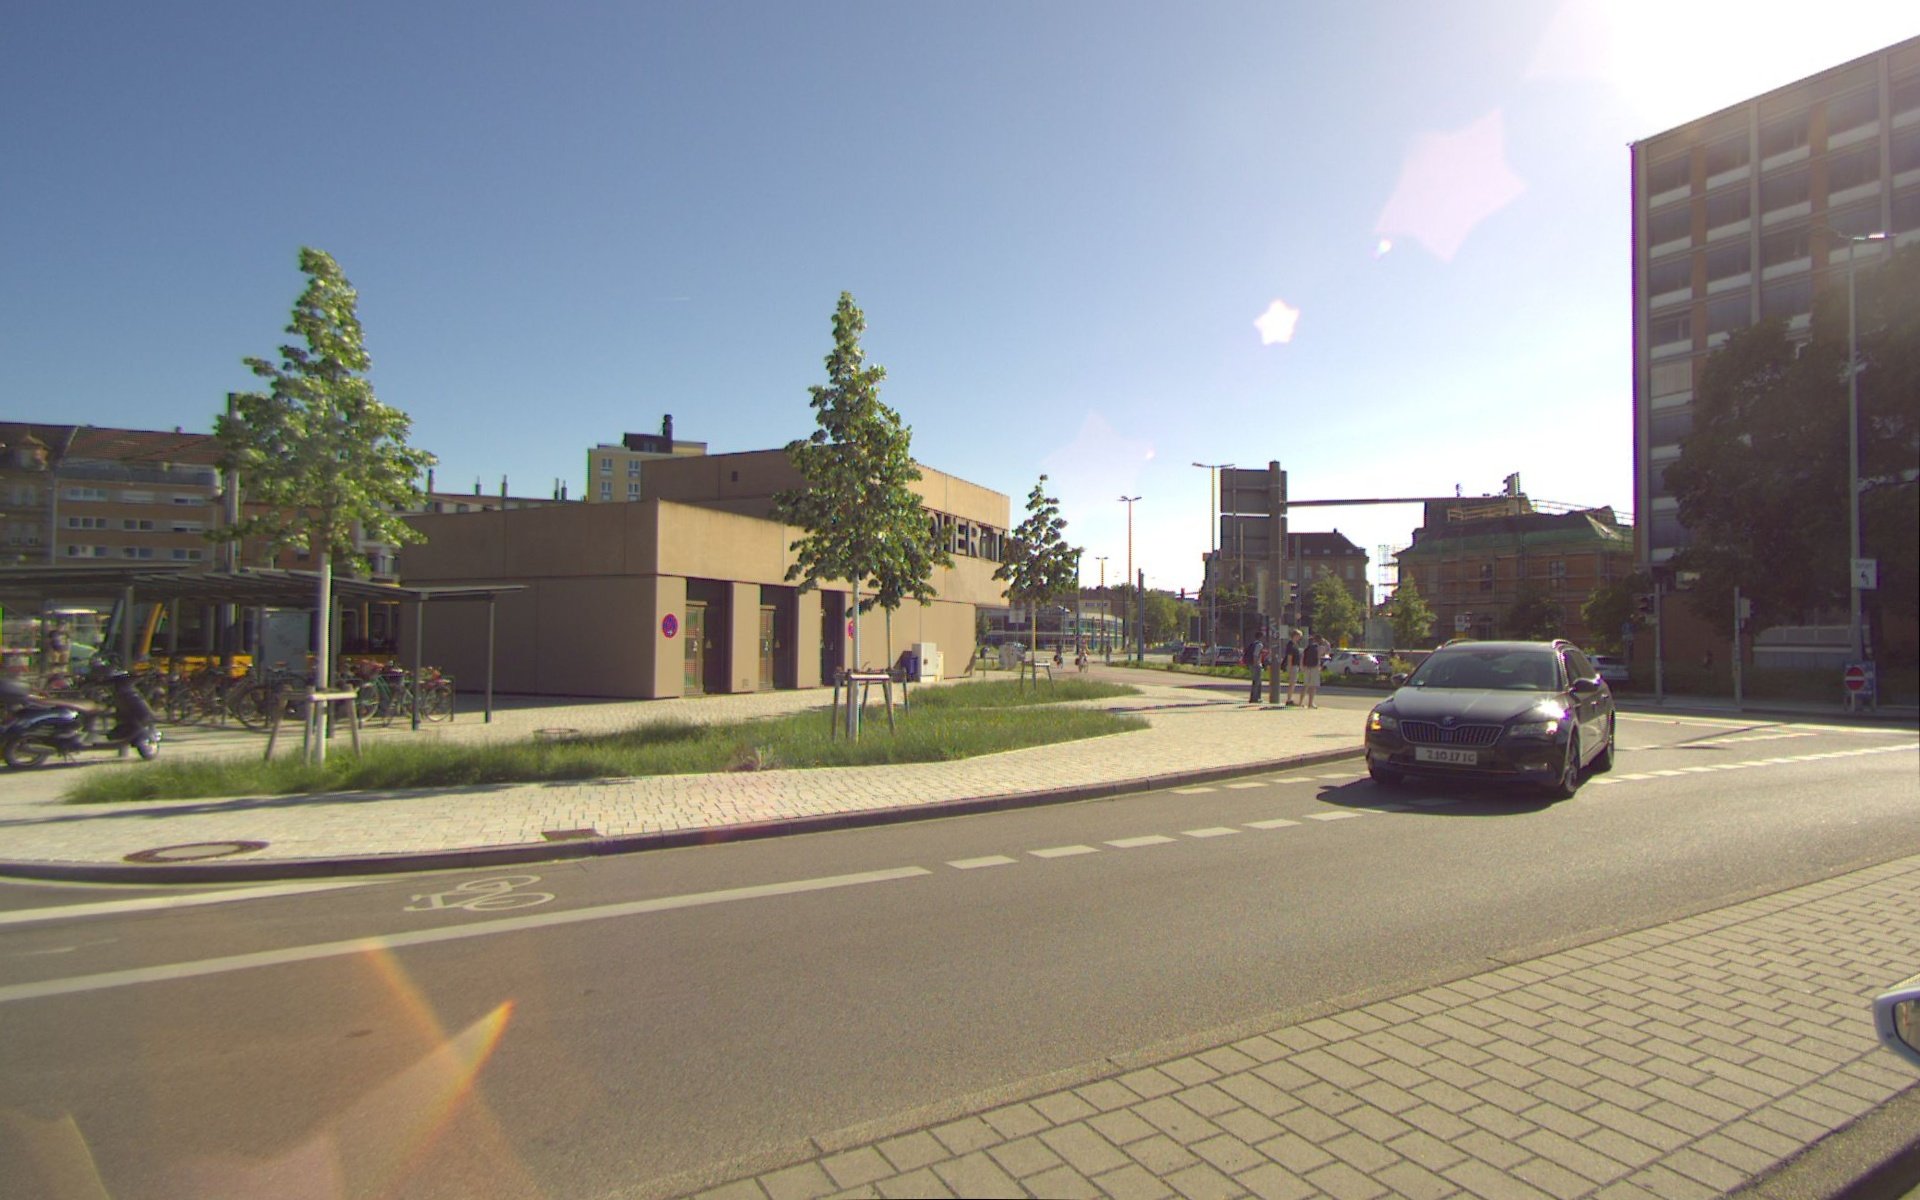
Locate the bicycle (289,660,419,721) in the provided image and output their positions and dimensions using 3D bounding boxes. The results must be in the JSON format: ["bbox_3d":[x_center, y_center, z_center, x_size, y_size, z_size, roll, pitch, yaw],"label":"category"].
[{"bbox_3d":[-11.758,1.733,19.576,0.679,1.011,2.140,2,0,26],"label":"bicycle"}]

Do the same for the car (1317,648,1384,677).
[{"bbox_3d":[21.370,3.417,55.145,1.712,1.454,3.842,1,-2,-10],"label":"car"}]

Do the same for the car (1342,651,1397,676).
[{"bbox_3d":[26.056,4.023,64.031,1.710,1.454,3.846,1,-2,-5],"label":"car"}]

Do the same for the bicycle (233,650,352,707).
[{"bbox_3d":[-13.913,1.616,20.997,0.524,1.051,2.070,2,0,26],"label":"bicycle"}]

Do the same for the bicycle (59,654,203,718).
[{"bbox_3d":[-15.898,1.624,19.324,0.524,1.051,2.070,5,1,26],"label":"bicycle"}]

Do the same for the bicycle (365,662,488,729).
[{"bbox_3d":[-9.785,1.728,18.524,0.524,1.051,2.070,2,0,26],"label":"bicycle"}]

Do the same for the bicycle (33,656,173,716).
[{"bbox_3d":[-16.879,1.678,19.852,0.524,1.051,2.070,-2,-2,26],"label":"bicycle"}]

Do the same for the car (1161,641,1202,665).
[{"bbox_3d":[16.526,3.937,75.128,1.809,1.653,4.386,1,-2,-4],"label":"car"}]

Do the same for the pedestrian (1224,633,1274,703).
[{"bbox_3d":[7.317,1.731,25.436,0.831,1.711,0.896,5,-5,-34],"label":"pedestrian"}]

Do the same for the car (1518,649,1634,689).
[{"bbox_3d":[28.442,3.172,46.597,1.812,1.653,4.830,1,-2,-11],"label":"car"}]

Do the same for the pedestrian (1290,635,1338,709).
[{"bbox_3d":[8.378,1.707,23.809,0.775,1.711,0.794,2,-5,-11],"label":"pedestrian"}]

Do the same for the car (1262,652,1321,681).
[{"bbox_3d":[20.704,4.132,62.892,1.810,1.653,4.382,1,-2,-8],"label":"car"}]

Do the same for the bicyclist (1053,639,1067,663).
[{"bbox_3d":[6.239,3.201,62.720,0.674,1.440,1.127,1,-4,-8],"label":"bicyclist"}]

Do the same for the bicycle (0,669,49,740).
[{"bbox_3d":[-14.196,1.526,14.379,0.399,0.985,1.683,2,0,22],"label":"bicycle"}]

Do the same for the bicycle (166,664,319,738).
[{"bbox_3d":[-11.972,1.654,16.841,0.524,1.051,2.070,2,0,26],"label":"bicycle"}]

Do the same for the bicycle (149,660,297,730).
[{"bbox_3d":[-12.894,1.630,17.661,0.524,1.051,2.070,2,0,26],"label":"bicycle"}]

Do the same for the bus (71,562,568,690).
[{"bbox_3d":[-18.501,0.866,31.205,2.810,3.112,13.620,0,-2,25],"label":"bus"}]

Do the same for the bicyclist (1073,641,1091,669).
[{"bbox_3d":[6.650,2.988,54.709,0.727,1.519,1.071,1,-3,-8],"label":"bicyclist"}]

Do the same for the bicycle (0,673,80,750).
[{"bbox_3d":[-13.226,1.544,13.816,0.399,0.985,1.683,2,0,22],"label":"bicycle"}]

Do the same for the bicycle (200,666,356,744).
[{"bbox_3d":[-10.899,1.650,16.137,0.524,1.051,2.070,2,0,26],"label":"bicycle"}]

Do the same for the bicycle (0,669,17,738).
[{"bbox_3d":[-14.713,1.542,14.429,0.399,0.985,1.683,2,0,22],"label":"bicycle"}]

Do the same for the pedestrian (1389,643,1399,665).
[{"bbox_3d":[32.557,4.047,75.349,0.636,1.637,0.548,0,-2,10],"label":"pedestrian"}]

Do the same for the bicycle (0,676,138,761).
[{"bbox_3d":[-12.198,1.574,13.582,0.399,0.985,1.683,2,0,22],"label":"bicycle"}]

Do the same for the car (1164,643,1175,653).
[{"bbox_3d":[43.258,9.838,207.286,1.959,2.040,4.003,0,-2,7],"label":"car"}]

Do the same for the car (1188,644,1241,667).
[{"bbox_3d":[17.269,3.763,68.359,1.810,1.406,4.895,1,-2,-8],"label":"car"}]

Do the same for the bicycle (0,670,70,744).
[{"bbox_3d":[-13.691,1.532,14.178,0.399,0.985,1.683,2,0,22],"label":"bicycle"}]

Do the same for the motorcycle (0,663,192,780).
[{"bbox_3d":[-10.844,1.448,12.480,0.558,1.235,2.087,0,-1,21],"label":"motorcycle"}]

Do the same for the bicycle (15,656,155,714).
[{"bbox_3d":[-17.767,1.698,20.461,0.524,1.051,2.070,5,0,26],"label":"bicycle"}]

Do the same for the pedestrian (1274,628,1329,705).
[{"bbox_3d":[8.367,1.635,24.637,1.084,1.822,0.703,2,-5,-15],"label":"pedestrian"}]

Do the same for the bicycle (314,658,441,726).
[{"bbox_3d":[-10.793,1.684,18.703,0.594,1.093,2.053,2,0,25],"label":"bicycle"}]

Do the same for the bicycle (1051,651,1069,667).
[{"bbox_3d":[6.233,3.693,62.690,0.674,0.930,1.989,1,-4,-8],"label":"bicycle"}]

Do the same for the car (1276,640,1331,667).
[{"bbox_3d":[22.856,3.547,66.942,1.809,1.653,4.384,1,-2,-6],"label":"car"}]

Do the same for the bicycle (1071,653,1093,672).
[{"bbox_3d":[6.641,3.416,54.687,0.727,1.008,1.989,1,-4,-7],"label":"bicycle"}]

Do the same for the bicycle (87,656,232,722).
[{"bbox_3d":[-15.012,1.641,18.909,0.524,1.051,2.070,5,1,26],"label":"bicycle"}]

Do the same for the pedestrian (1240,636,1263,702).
[{"bbox_3d":[7.854,1.838,27.080,0.585,1.751,0.580,0,-2,14],"label":"pedestrian"}]

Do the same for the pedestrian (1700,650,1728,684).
[{"bbox_3d":[35.921,3.198,47.838,0.549,1.591,0.862,0,-4,-9],"label":"pedestrian"}]

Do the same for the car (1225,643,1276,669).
[{"bbox_3d":[20.044,3.838,69.436,1.810,1.653,4.382,1,-2,-8],"label":"car"}]

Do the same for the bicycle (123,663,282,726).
[{"bbox_3d":[-13.705,1.678,18.265,0.673,0.956,2.233,2,0,25],"label":"bicycle"}]

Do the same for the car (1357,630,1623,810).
[{"bbox_3d":[5.984,1.161,11.013,1.791,1.524,4.766,-3,-4,37],"label":"car"}]
